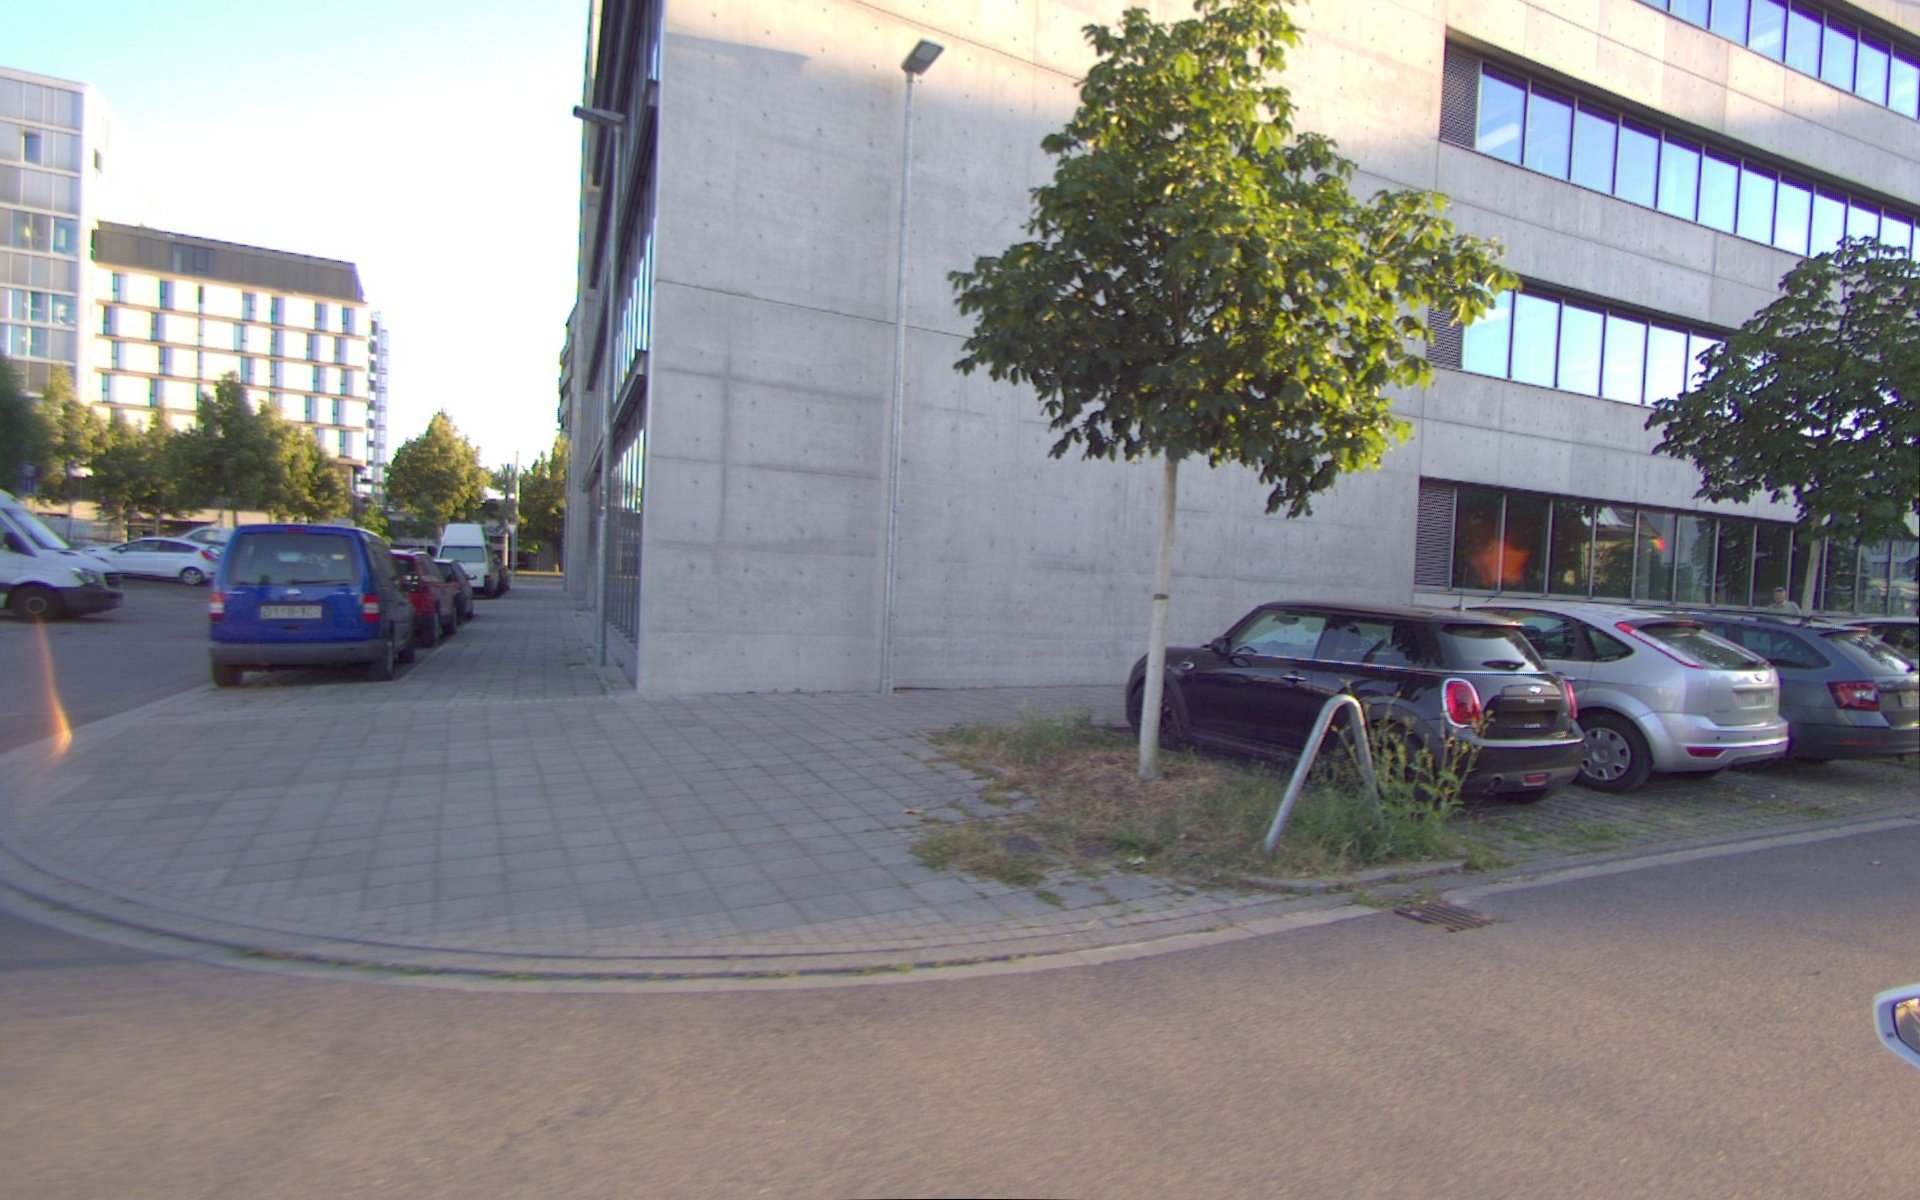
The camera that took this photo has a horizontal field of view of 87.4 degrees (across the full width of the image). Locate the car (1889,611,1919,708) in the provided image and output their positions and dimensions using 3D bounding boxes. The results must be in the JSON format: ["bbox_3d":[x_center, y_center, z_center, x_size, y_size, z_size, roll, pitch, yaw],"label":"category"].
[{"bbox_3d":[16.840,1.064,15.065,1.735,1.532,3.860,1,2,-23],"label":"car"}]

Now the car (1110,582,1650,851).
[{"bbox_3d":[3.070,0.690,8.133,1.748,1.502,3.717,1,3,-29],"label":"car"}]

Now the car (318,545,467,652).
[{"bbox_3d":[-9.827,-0.104,17.684,1.752,1.652,4.032,-1,2,-22],"label":"car"}]

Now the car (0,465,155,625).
[{"bbox_3d":[-19.612,-1.202,18.591,6.894,2.839,2.199,4,1,-26],"label":"car"}]

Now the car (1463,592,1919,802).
[{"bbox_3d":[7.529,0.785,10.339,1.566,1.533,3.978,0,3,-29],"label":"car"}]

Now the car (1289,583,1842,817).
[{"bbox_3d":[5.372,0.719,9.522,1.824,1.549,4.066,2,2,-30],"label":"car"}]

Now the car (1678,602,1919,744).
[{"bbox_3d":[11.784,0.908,12.744,1.736,1.532,3.974,1,2,-25],"label":"car"}]

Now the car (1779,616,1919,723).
[{"bbox_3d":[14.056,1.034,14.052,1.665,1.380,3.617,1,2,-28],"label":"car"}]

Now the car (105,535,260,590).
[{"bbox_3d":[-28.013,-1.358,36.343,4.078,1.519,1.656,6,1,-28],"label":"car"}]

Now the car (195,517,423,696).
[{"bbox_3d":[-7.939,0.002,12.639,1.822,1.856,4.073,0,2,-25],"label":"car"}]

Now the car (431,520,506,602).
[{"bbox_3d":[-17.265,-1.346,35.482,1.930,2.689,4.036,1,2,-20],"label":"car"}]

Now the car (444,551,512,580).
[{"bbox_3d":[-32.442,-2.341,67.709,3.907,1.519,1.658,6,1,-24],"label":"car"}]

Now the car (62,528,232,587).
[{"bbox_3d":[-27.115,-1.418,33.675,4.078,1.519,1.656,6,1,-28],"label":"car"}]

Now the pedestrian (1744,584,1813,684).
[{"bbox_3d":[15.315,0.625,18.798,0.715,1.808,0.644,2,2,-24],"label":"pedestrian"}]

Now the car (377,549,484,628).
[{"bbox_3d":[-12.016,-0.341,23.035,1.752,1.633,4.032,-1,3,-22],"label":"car"}]

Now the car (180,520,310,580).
[{"bbox_3d":[-29.826,-2.084,42.041,4.078,2.052,1.656,5,1,-28],"label":"car"}]
